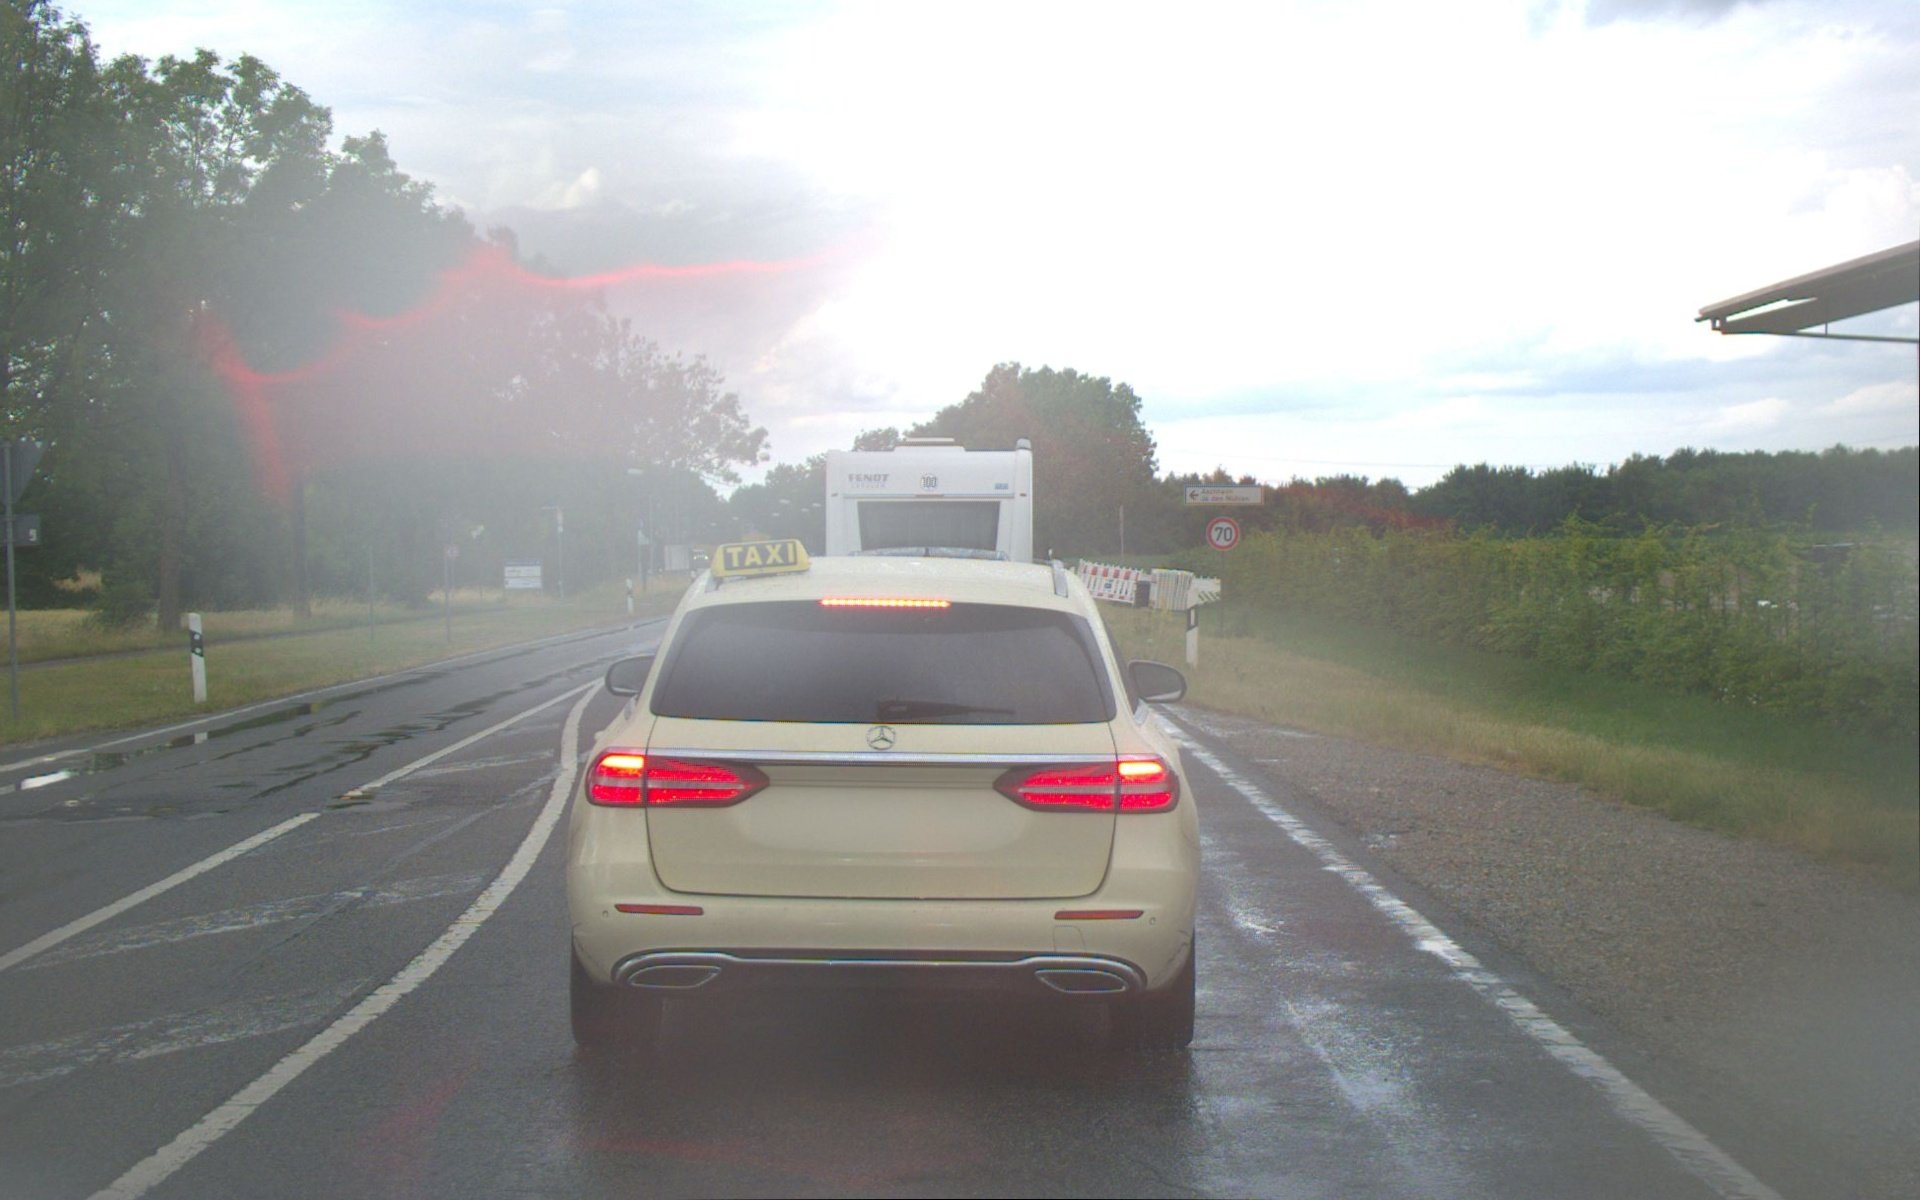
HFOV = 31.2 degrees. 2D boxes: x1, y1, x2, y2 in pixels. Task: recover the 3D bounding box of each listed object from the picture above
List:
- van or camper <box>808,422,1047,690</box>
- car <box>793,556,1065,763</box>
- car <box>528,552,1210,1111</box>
[{"bbox_3d":[-0.328,-0.517,40.130,2.497,2.821,5.934,-2,1,0],"label":"van or camper"},{"bbox_3d":[-0.240,0.388,25.958,1.894,1.424,3.928,0,1,-1],"label":"car"},{"bbox_3d":[-0.242,0.583,11.080,1.797,1.459,4.031,0,1,0],"label":"car"}]
